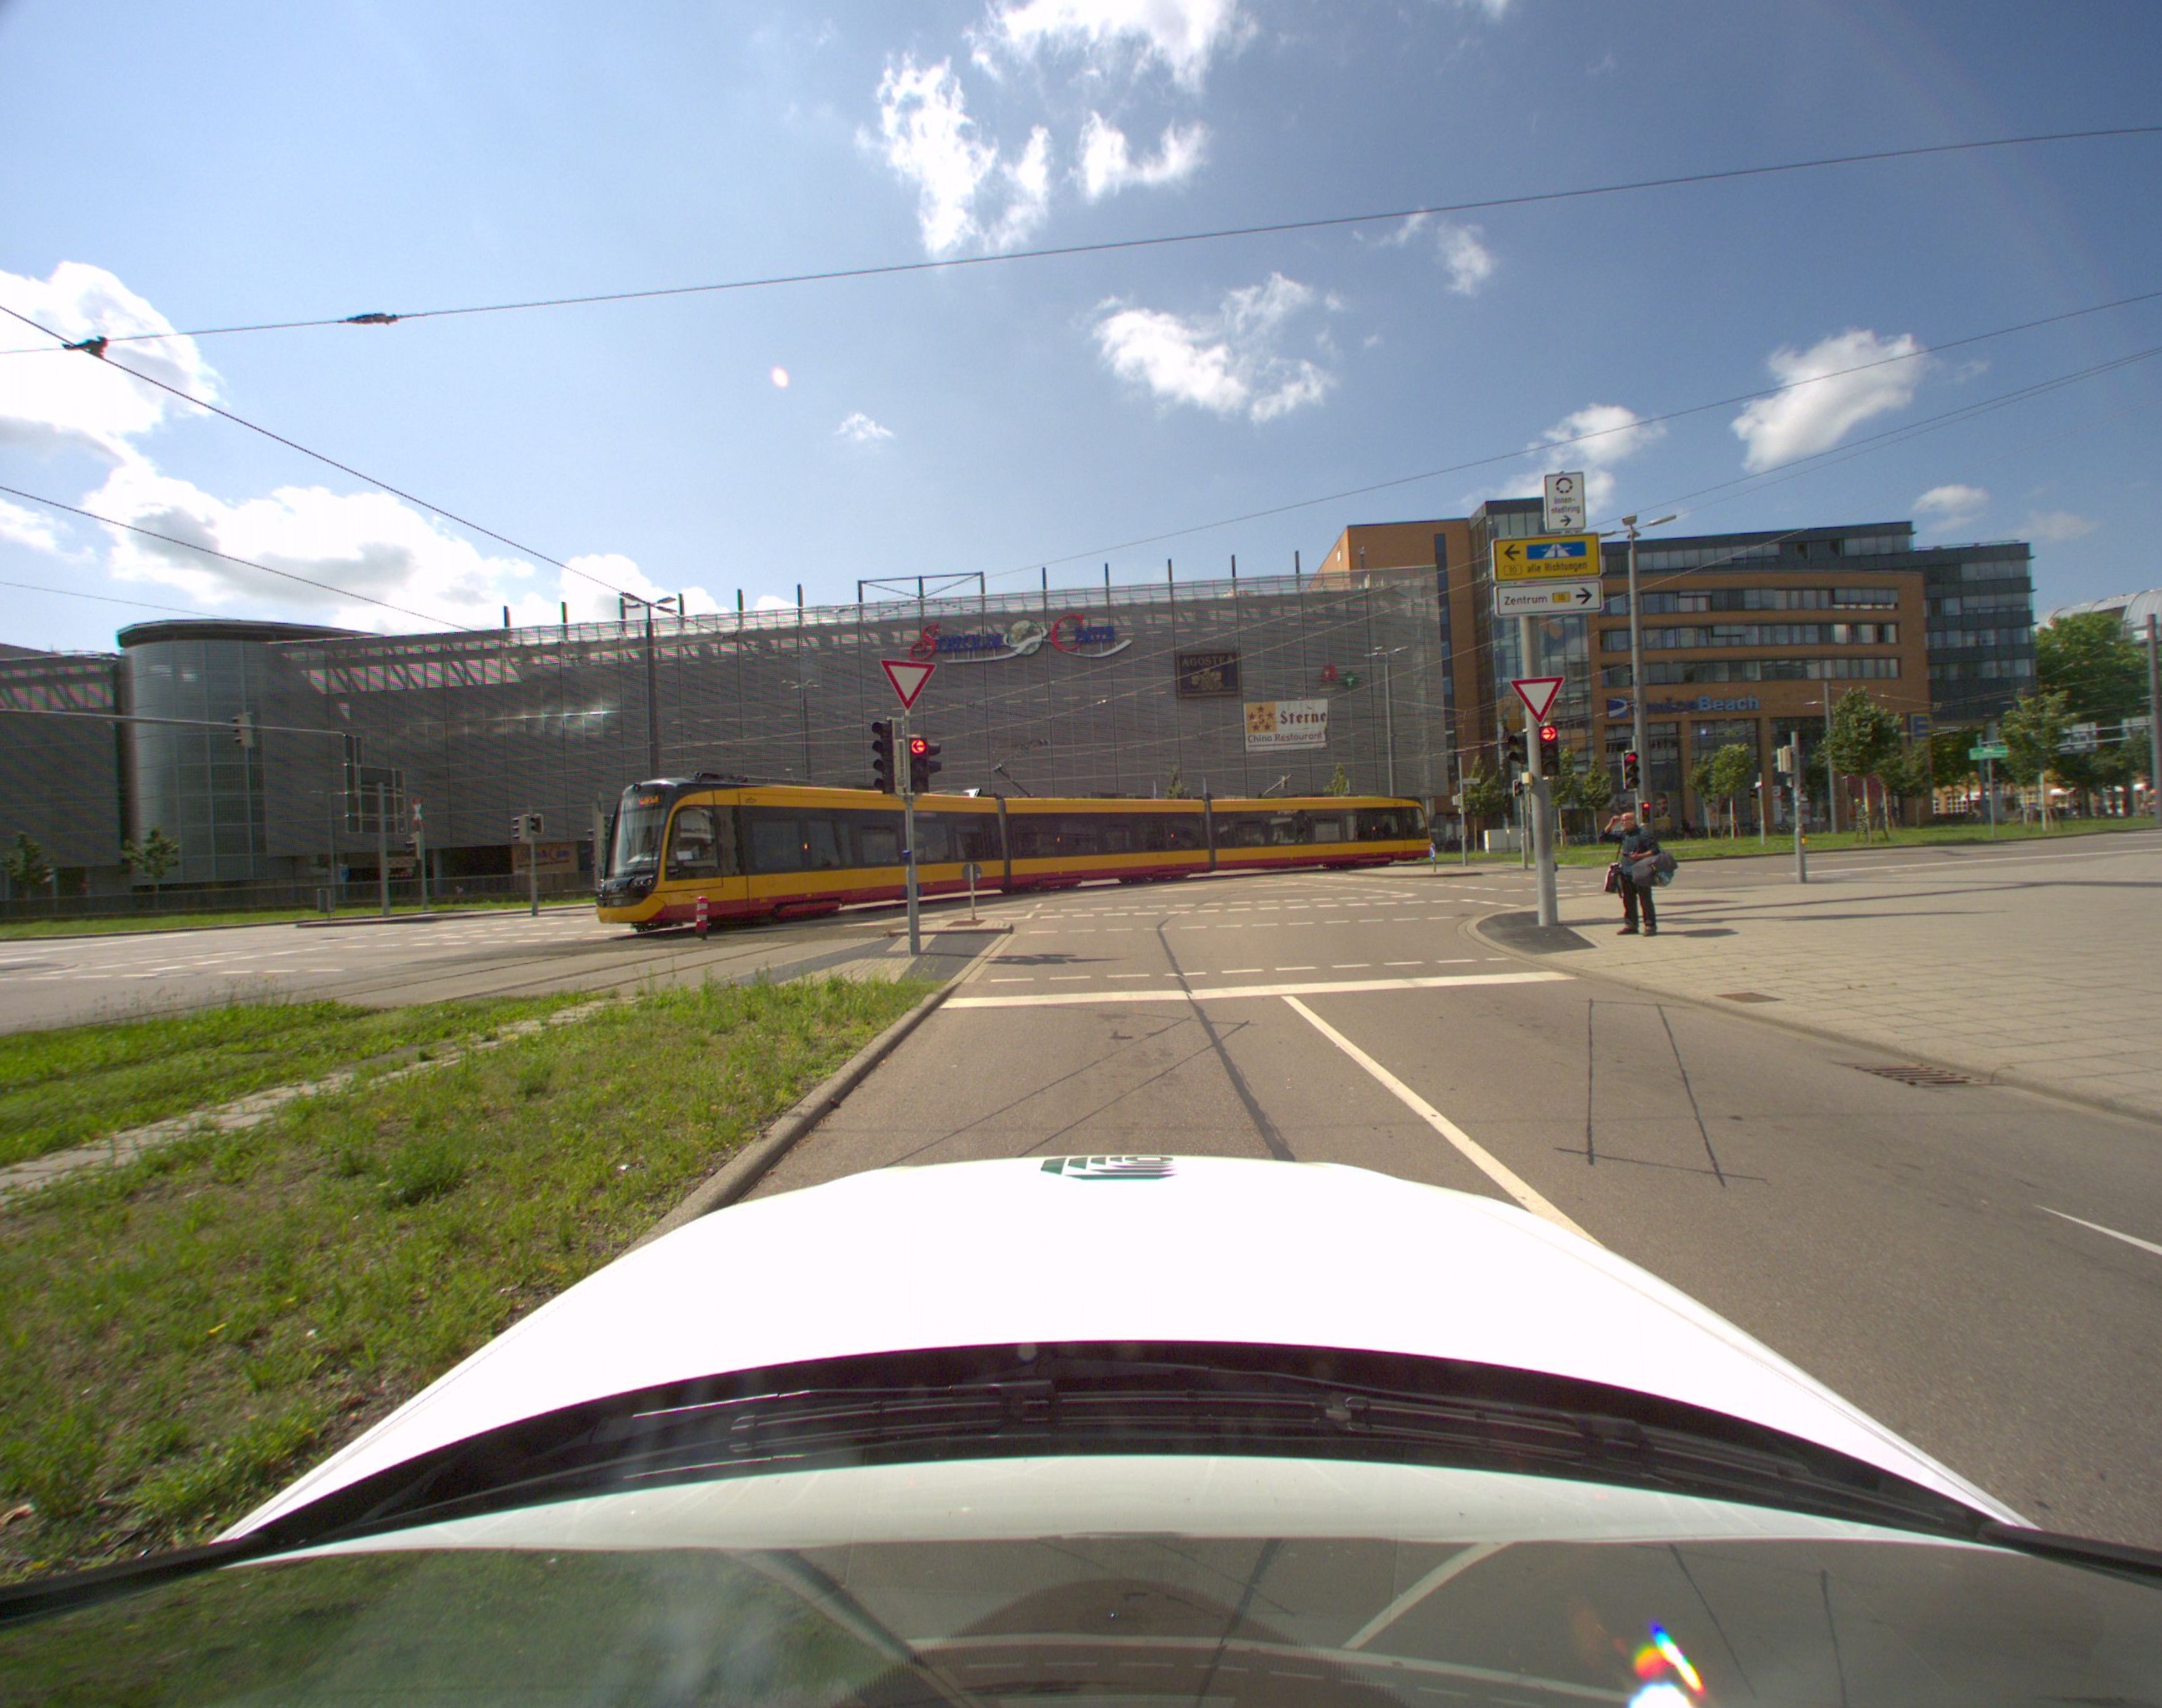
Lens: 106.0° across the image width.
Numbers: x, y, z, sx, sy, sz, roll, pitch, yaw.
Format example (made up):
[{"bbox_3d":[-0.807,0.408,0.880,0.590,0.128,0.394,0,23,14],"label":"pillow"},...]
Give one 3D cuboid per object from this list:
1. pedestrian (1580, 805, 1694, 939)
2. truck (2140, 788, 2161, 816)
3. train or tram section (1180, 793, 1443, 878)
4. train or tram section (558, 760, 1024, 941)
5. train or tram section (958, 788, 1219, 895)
[{"bbox_3d":[7.553,0.232,11.089,0.810,1.702,0.911,-3,-1,-26],"label":"pedestrian"},{"bbox_3d":[85.904,-4.112,63.744,5.521,2.085,1.988,-2,0,-19],"label":"truck"},{"bbox_3d":[11.040,-0.963,38.423,12.642,3.621,3.043,-2,0,-22],"label":"train or tram section"},{"bbox_3d":[-6.679,-0.184,22.938,3.185,3.599,13.584,-1,1,29],"label":"train or tram section"},{"bbox_3d":[0.694,-0.564,32.325,11.051,3.603,3.029,-2,1,-41],"label":"train or tram section"}]
